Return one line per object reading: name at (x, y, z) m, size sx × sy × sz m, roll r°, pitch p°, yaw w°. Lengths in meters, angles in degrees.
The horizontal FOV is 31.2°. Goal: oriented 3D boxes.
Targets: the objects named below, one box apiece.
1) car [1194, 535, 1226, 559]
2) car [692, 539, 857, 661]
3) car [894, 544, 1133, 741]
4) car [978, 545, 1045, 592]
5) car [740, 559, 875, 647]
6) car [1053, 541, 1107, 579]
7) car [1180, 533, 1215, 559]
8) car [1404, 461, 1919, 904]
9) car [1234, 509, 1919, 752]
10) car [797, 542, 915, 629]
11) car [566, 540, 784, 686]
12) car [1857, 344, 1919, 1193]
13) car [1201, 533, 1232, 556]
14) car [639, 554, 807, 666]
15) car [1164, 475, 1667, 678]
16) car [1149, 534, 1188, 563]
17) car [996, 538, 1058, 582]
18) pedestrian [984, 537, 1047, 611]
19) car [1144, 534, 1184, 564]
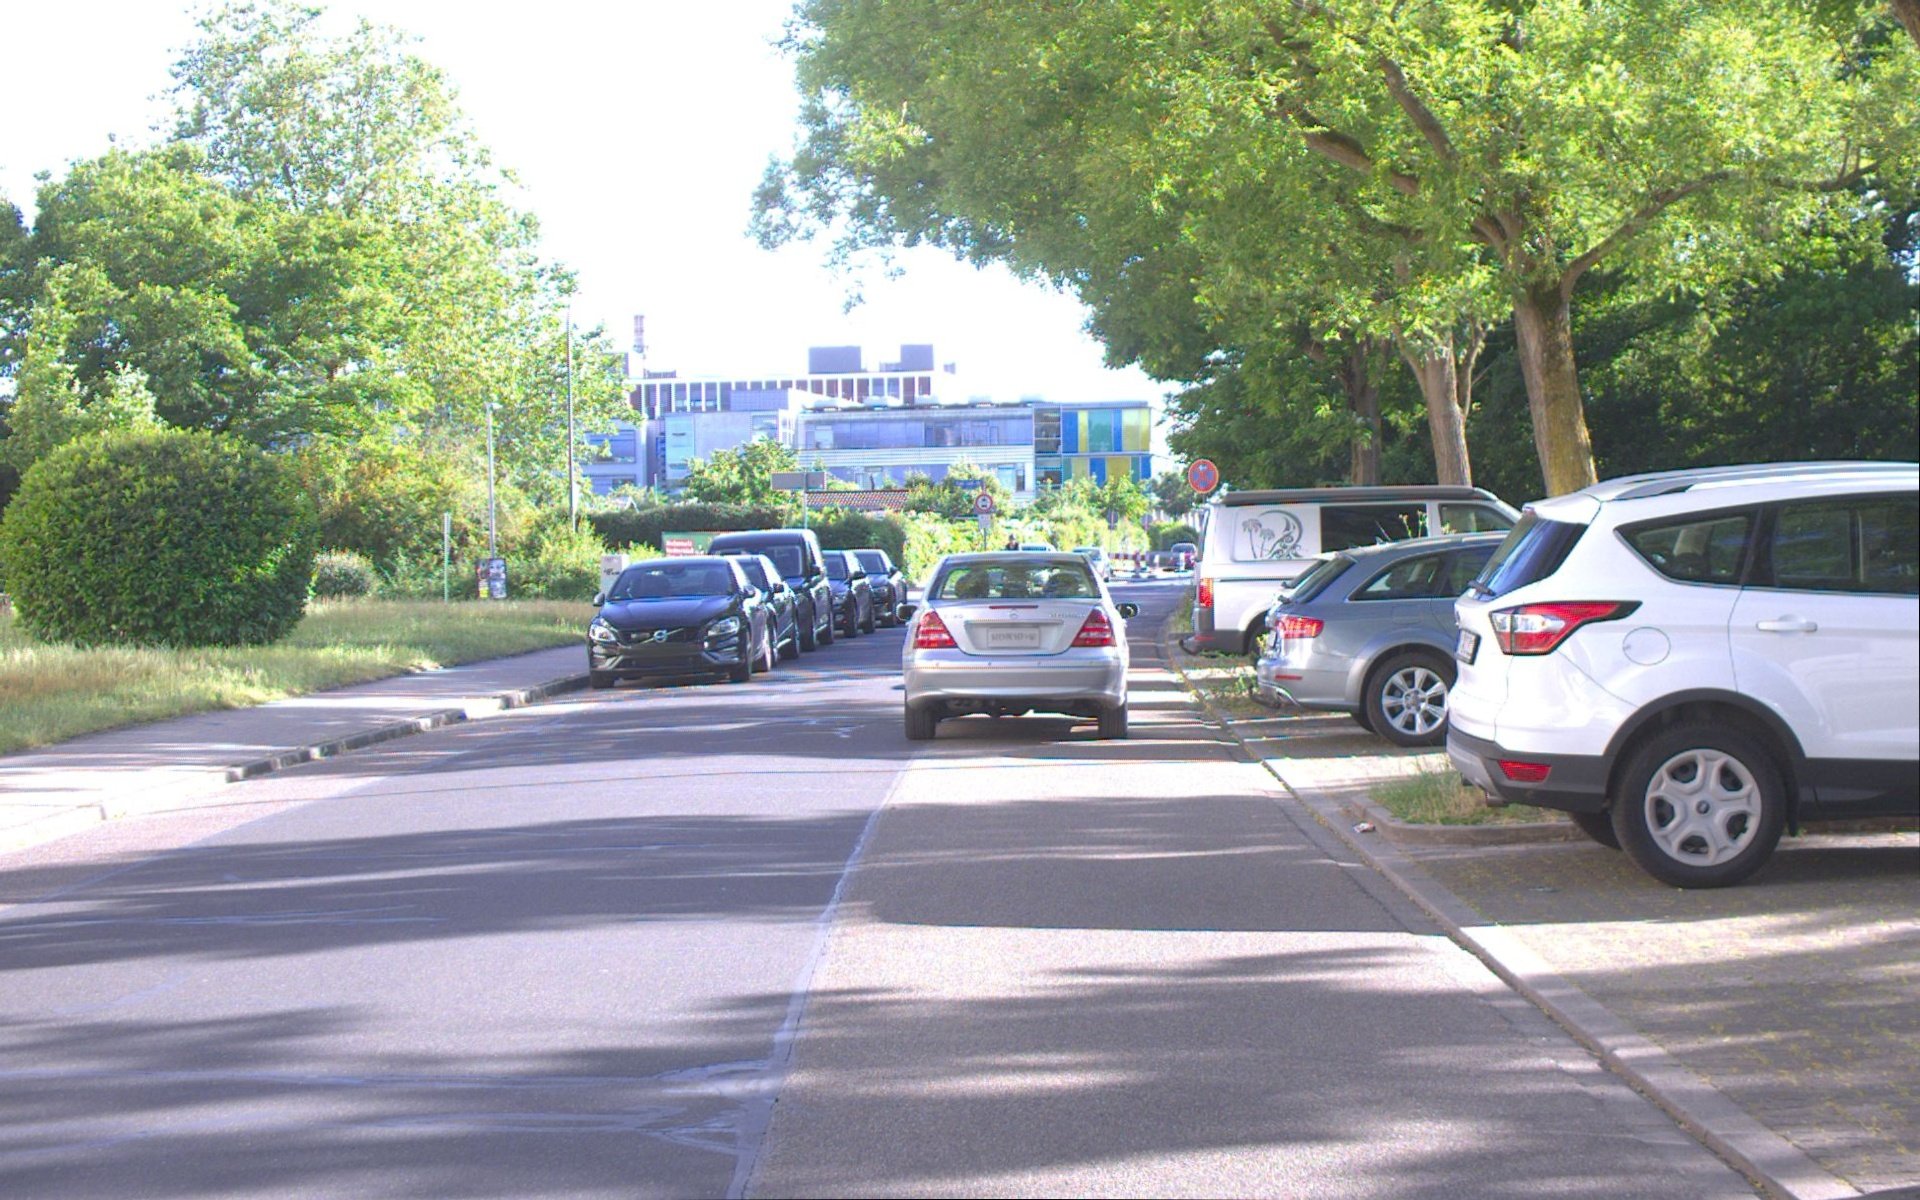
car at (16.085, -3.421, 221.350) m, size 1.894 × 1.497 × 3.656 m, roll -1°, pitch 1°, yaw 6°
car at (-2.751, -0.036, 51.793) m, size 1.750 × 1.683 × 4.263 m, roll -2°, pitch 1°, yaw 6°
car at (0.413, 0.314, 26.692) m, size 1.733 × 1.429 × 3.438 m, roll 0°, pitch 0°, yaw 1°
car at (1.731, -1.060, 114.945) m, size 1.894 × 1.497 × 3.656 m, roll -1°, pitch 1°, yaw 6°
car at (-2.556, 0.031, 58.365) m, size 1.750 × 1.325 × 3.450 m, roll -3°, pitch 1°, yaw 6°
car at (4.932, -1.638, 140.793) m, size 1.894 × 1.497 × 3.656 m, roll -1°, pitch 1°, yaw 6°
car at (14.127, -3.205, 204.314) m, size 1.894 × 1.497 × 3.656 m, roll -1°, pitch 1°, yaw 6°
car at (4.494, 0.253, 14.781) m, size 4.884 × 1.717 × 2.000 m, roll -2°, pitch 1°, yaw 1°
car at (4.555, 0.195, 24.994) m, size 4.884 × 1.622 × 2.000 m, roll -1°, pitch 1°, yaw -2°
car at (-1.928, -0.304, 64.912) m, size 1.750 × 1.515 × 4.193 m, roll -2°, pitch 1°, yaw 4°
car at (-3.232, 0.111, 39.732) m, size 1.913 × 1.485 × 3.837 m, roll -3°, pitch 1°, yaw 3°
car at (4.657, 0.322, 7.304) m, size 4.883 × 1.917 × 2.000 m, roll -2°, pitch 1°, yaw -6°
car at (17.275, -3.772, 231.419) m, size 1.894 × 1.497 × 3.656 m, roll -1°, pitch 1°, yaw 6°
car at (-3.110, 0.105, 45.724) m, size 1.750 × 1.318 × 3.742 m, roll -4°, pitch 1°, yaw 3°
car at (4.864, -0.262, 37.315) m, size 5.218 × 2.052 × 2.000 m, roll -1°, pitch 1°, yaw 3°
car at (11.343, -2.815, 186.685) m, size 1.894 × 1.497 × 3.656 m, roll -1°, pitch 1°, yaw 6°
car at (2.429, -1.437, 123.202) m, size 1.894 × 1.497 × 3.656 m, roll -1°, pitch 1°, yaw 6°
pedestrian at (1.612, -0.763, 99.333) m, size 1.575 × 2.082 × 1.723 m, roll -1°, pitch 1°, yaw 9°
car at (10.733, -2.684, 180.749) m, size 1.894 × 1.497 × 3.656 m, roll -1°, pitch 1°, yaw 6°
